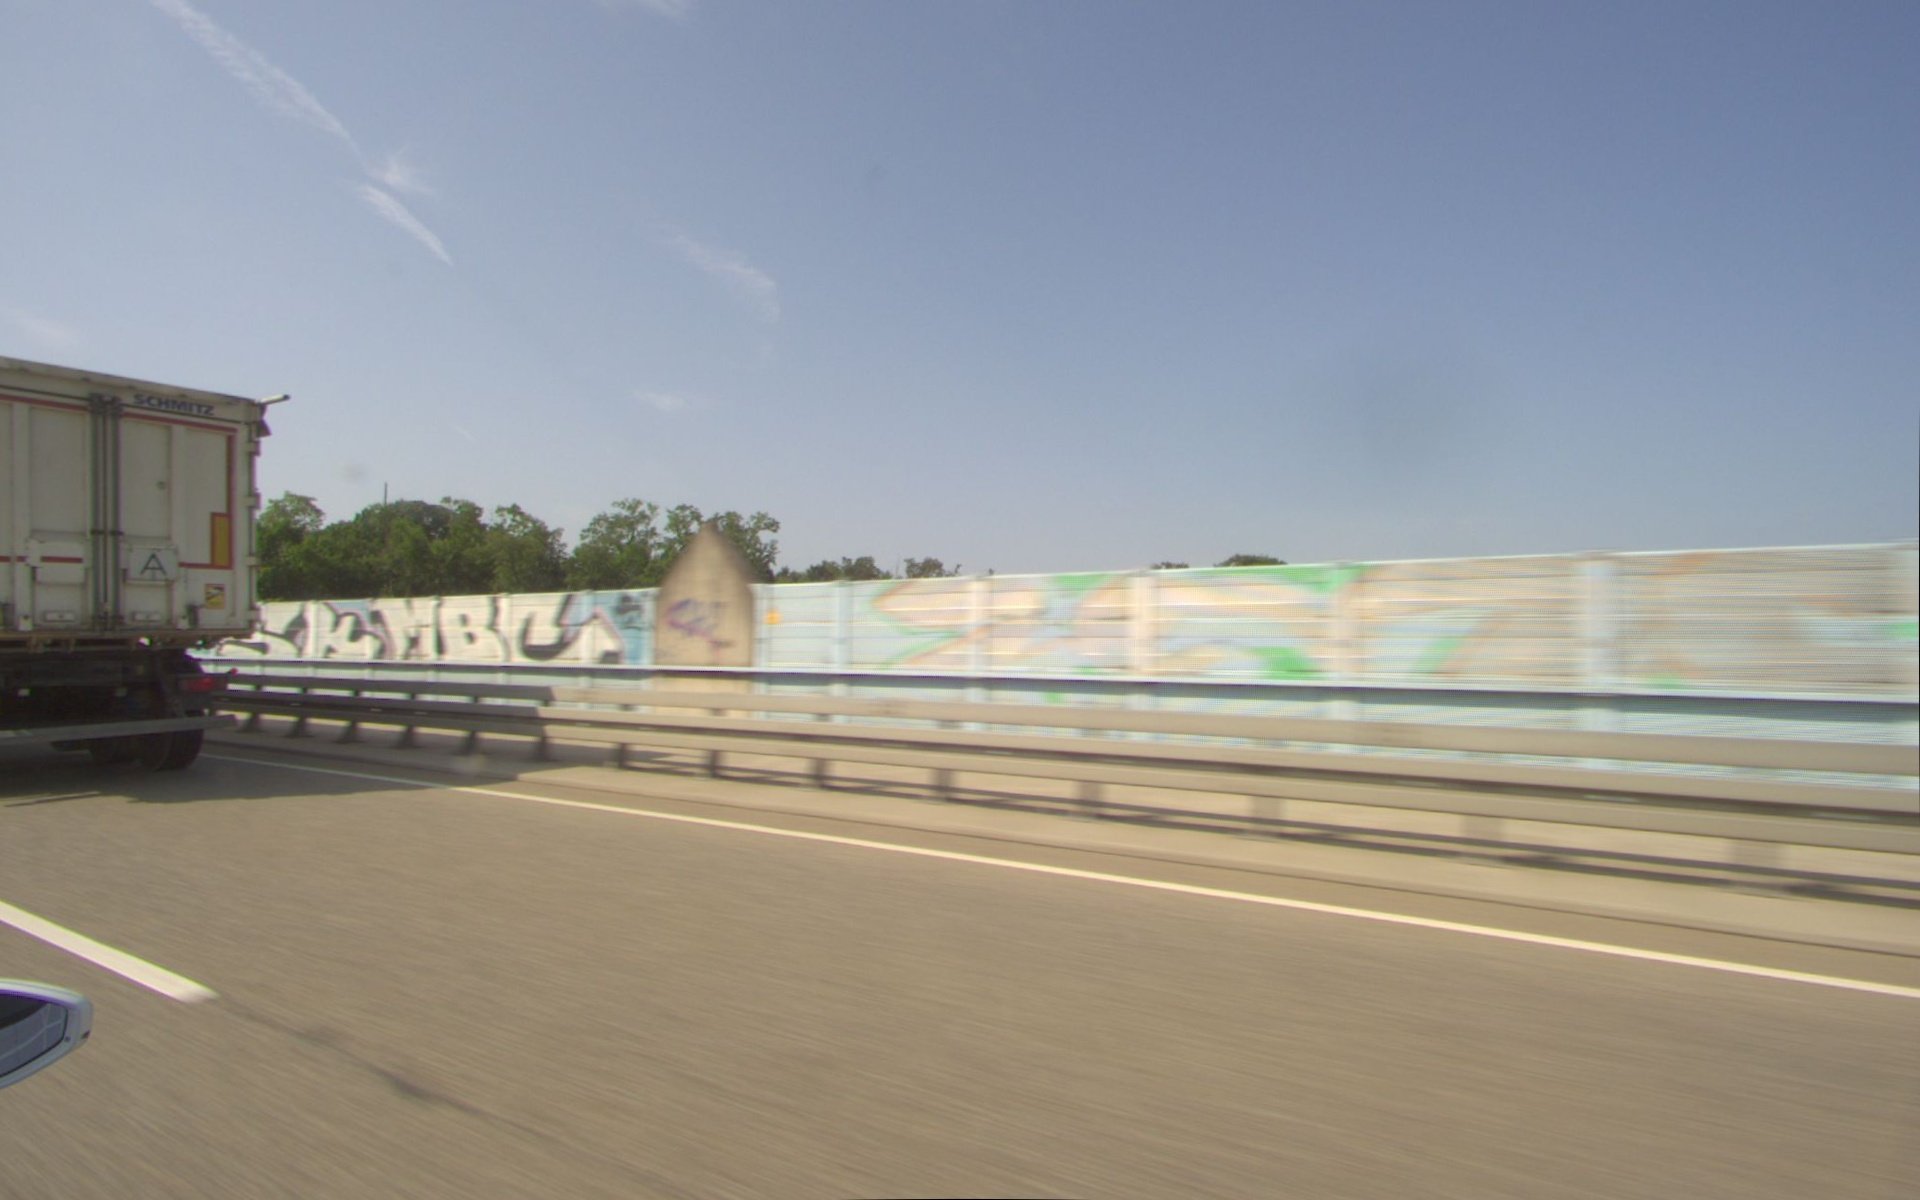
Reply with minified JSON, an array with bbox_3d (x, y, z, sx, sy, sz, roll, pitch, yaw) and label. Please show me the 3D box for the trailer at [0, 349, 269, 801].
[{"bbox_3d":[-12.095,-0.150,11.928,9.530,3.957,2.676,-1,-1,31],"label":"trailer"}]
